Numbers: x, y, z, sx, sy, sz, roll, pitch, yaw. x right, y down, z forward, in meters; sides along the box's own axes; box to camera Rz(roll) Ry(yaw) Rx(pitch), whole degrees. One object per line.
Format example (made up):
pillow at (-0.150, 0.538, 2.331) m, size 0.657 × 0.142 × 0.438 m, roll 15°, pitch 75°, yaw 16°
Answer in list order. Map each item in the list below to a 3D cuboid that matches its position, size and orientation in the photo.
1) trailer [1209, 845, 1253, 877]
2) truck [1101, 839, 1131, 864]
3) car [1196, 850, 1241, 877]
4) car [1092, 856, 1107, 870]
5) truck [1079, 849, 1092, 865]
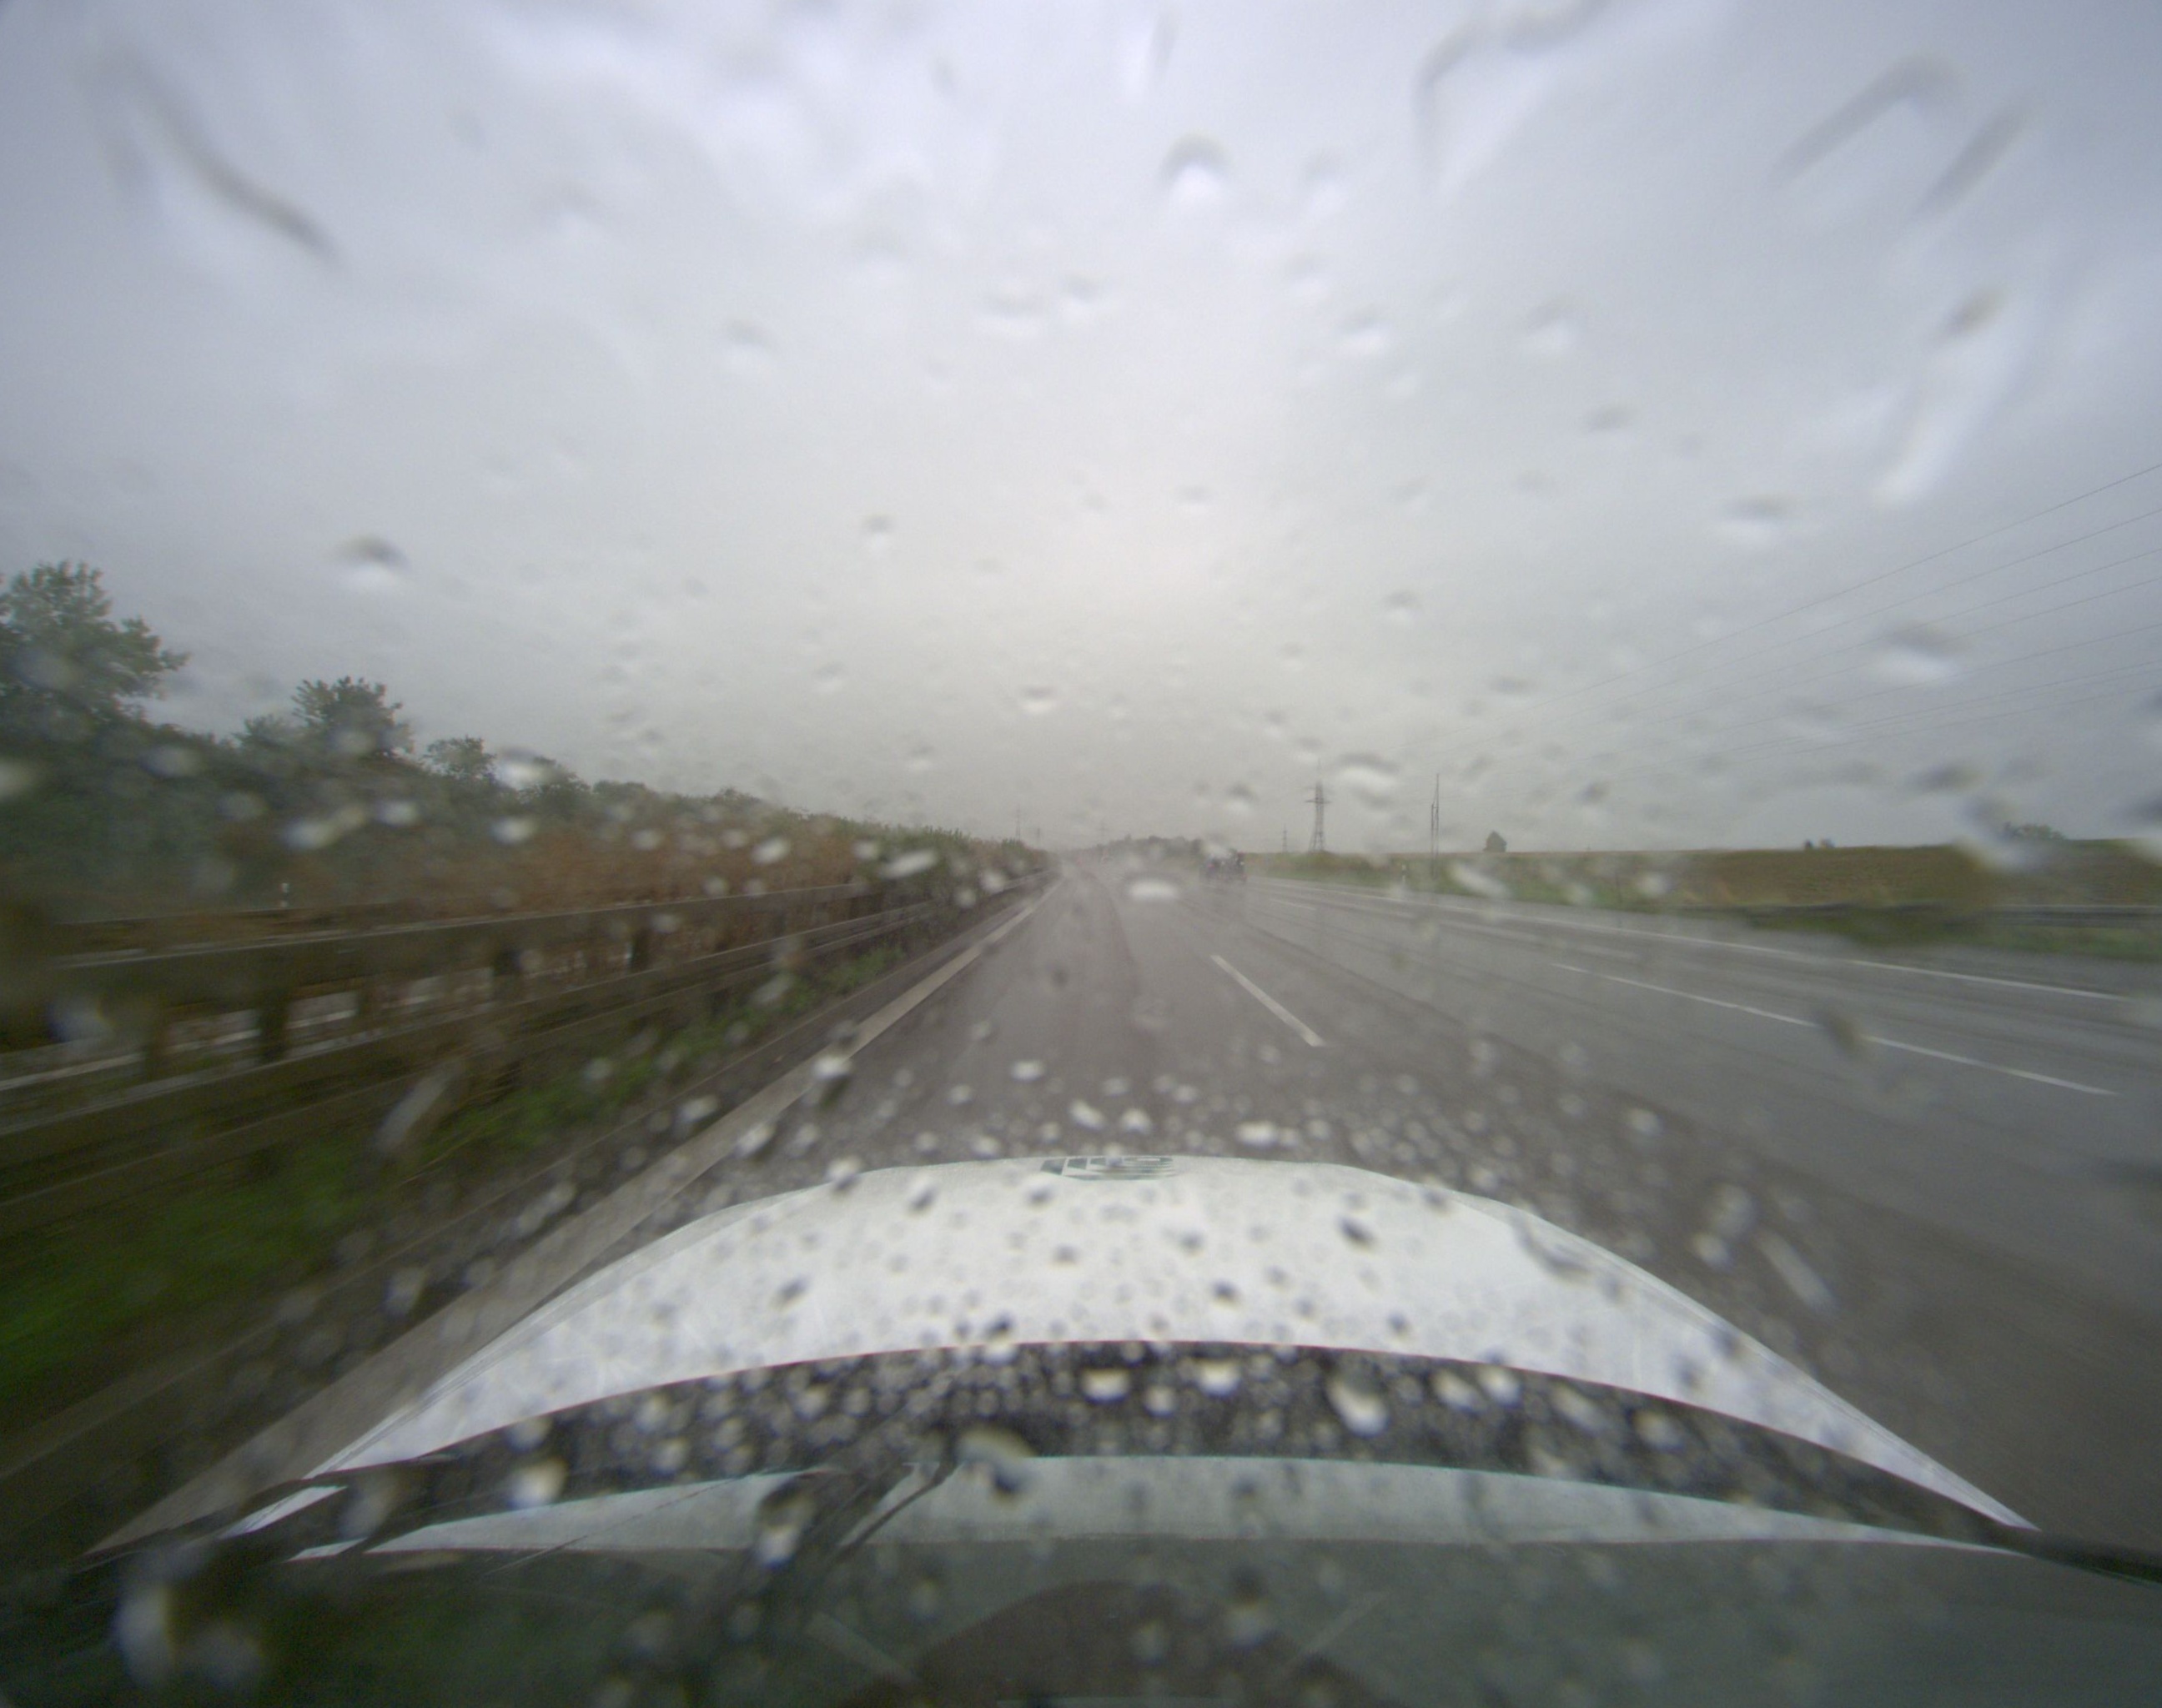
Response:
trailer at (8.730, 0.453, 47.674) m, size 1.972 × 1.785 × 3.189 m, roll -1°, pitch -1°, yaw 1°
truck at (6.846, -0.402, 162.074) m, size 4.181 × 4.630 × 16.078 m, roll -1°, pitch -1°, yaw -4°
car at (8.676, 0.617, 51.760) m, size 1.987 × 1.619 × 4.992 m, roll -1°, pitch -1°, yaw 0°
car at (2.668, 1.288, 116.438) m, size 1.988 × 2.014 × 3.998 m, roll -1°, pitch -1°, yaw -1°
truck at (1.239, 0.864, 235.902) m, size 3.225 × 4.311 × 8.825 m, roll -1°, pitch -1°, yaw -3°
